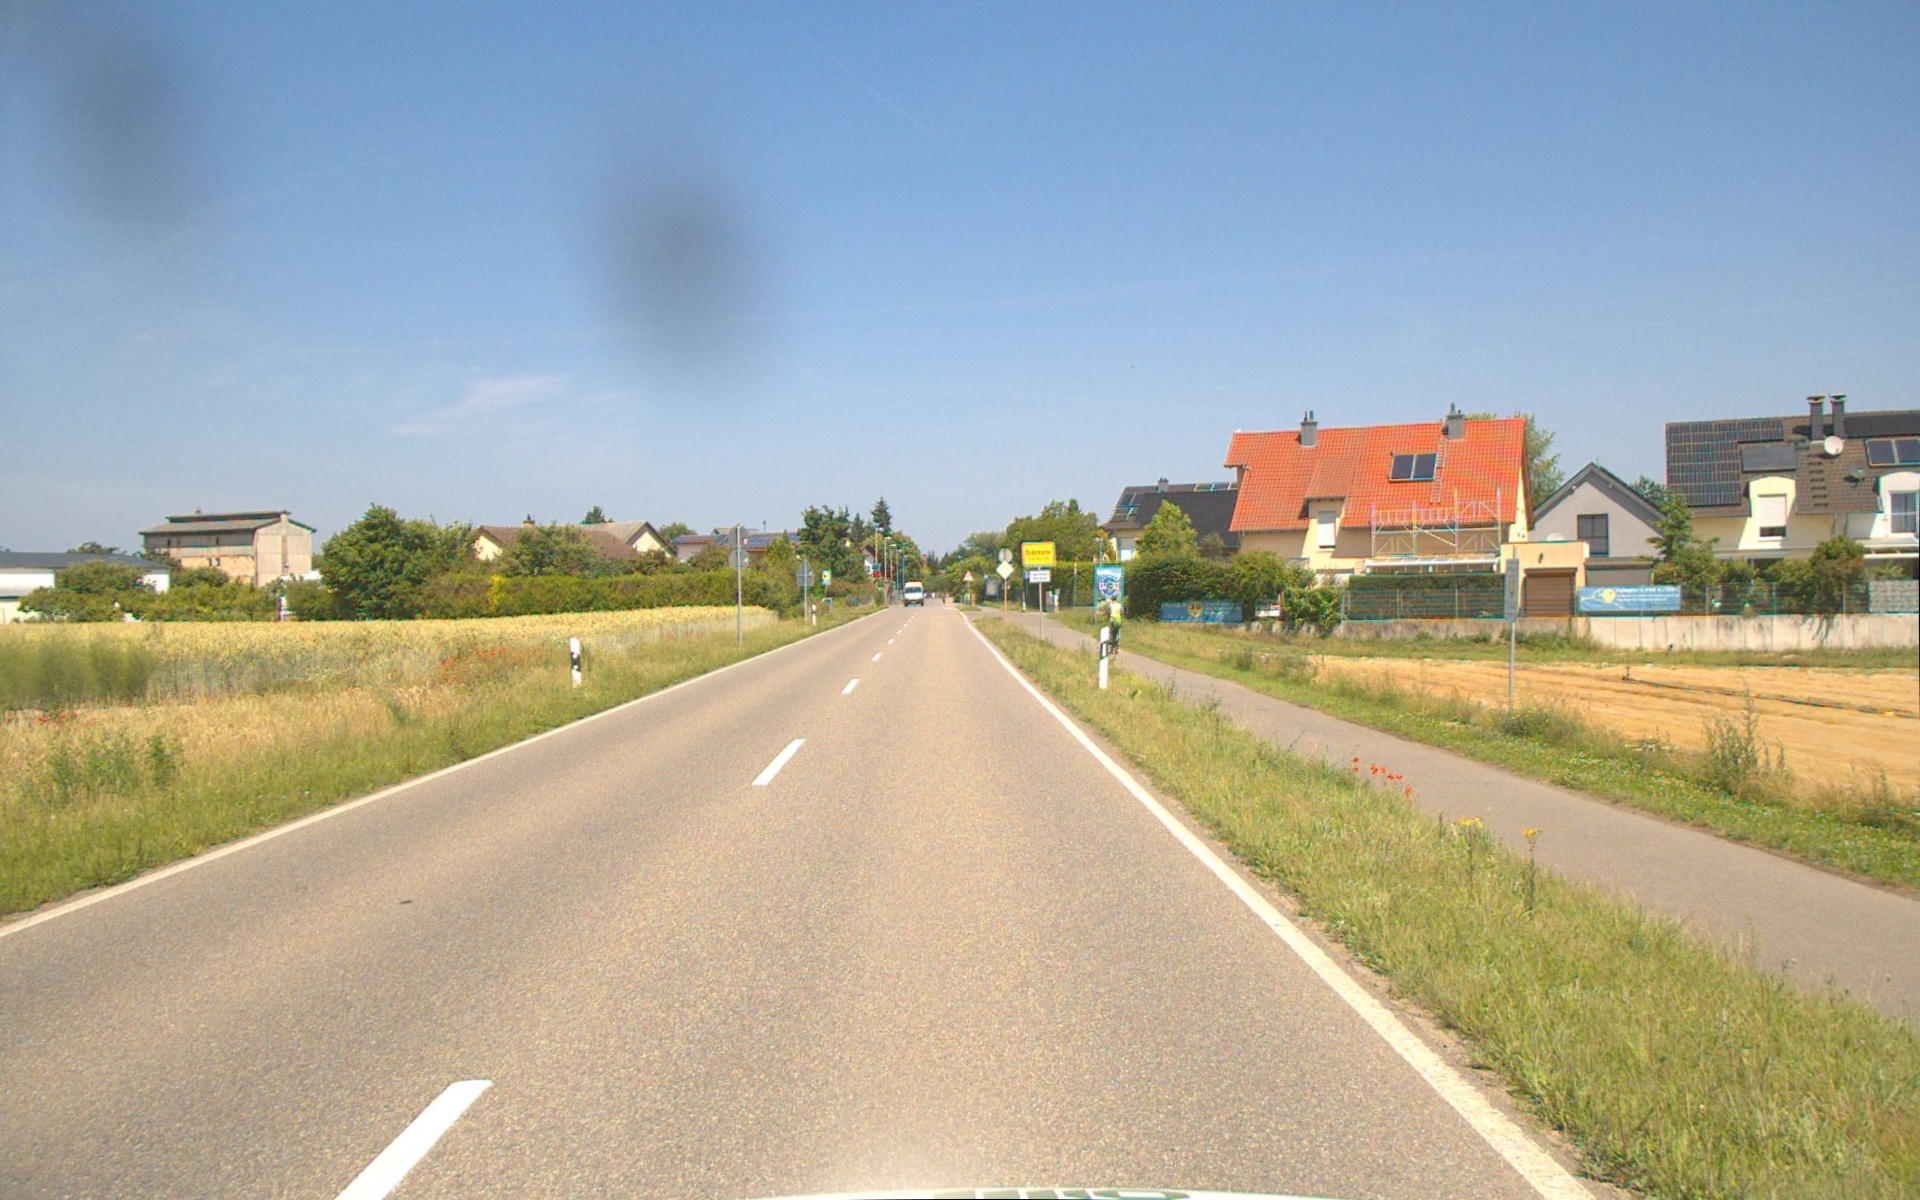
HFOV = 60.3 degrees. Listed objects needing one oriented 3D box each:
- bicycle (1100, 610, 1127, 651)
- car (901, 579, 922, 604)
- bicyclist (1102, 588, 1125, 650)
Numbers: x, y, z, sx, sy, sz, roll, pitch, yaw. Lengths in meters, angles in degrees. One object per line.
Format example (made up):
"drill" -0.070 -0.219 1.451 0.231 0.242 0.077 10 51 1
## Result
"bicycle" 4.817 0.943 52.013 0.598 1.179 2.274 0 1 -1
"car" -5.136 -0.920 174.820 2.035 2.586 5.872 -2 1 -1
"bicyclist" 4.817 0.585 51.944 0.632 1.922 0.861 0 1 -2
